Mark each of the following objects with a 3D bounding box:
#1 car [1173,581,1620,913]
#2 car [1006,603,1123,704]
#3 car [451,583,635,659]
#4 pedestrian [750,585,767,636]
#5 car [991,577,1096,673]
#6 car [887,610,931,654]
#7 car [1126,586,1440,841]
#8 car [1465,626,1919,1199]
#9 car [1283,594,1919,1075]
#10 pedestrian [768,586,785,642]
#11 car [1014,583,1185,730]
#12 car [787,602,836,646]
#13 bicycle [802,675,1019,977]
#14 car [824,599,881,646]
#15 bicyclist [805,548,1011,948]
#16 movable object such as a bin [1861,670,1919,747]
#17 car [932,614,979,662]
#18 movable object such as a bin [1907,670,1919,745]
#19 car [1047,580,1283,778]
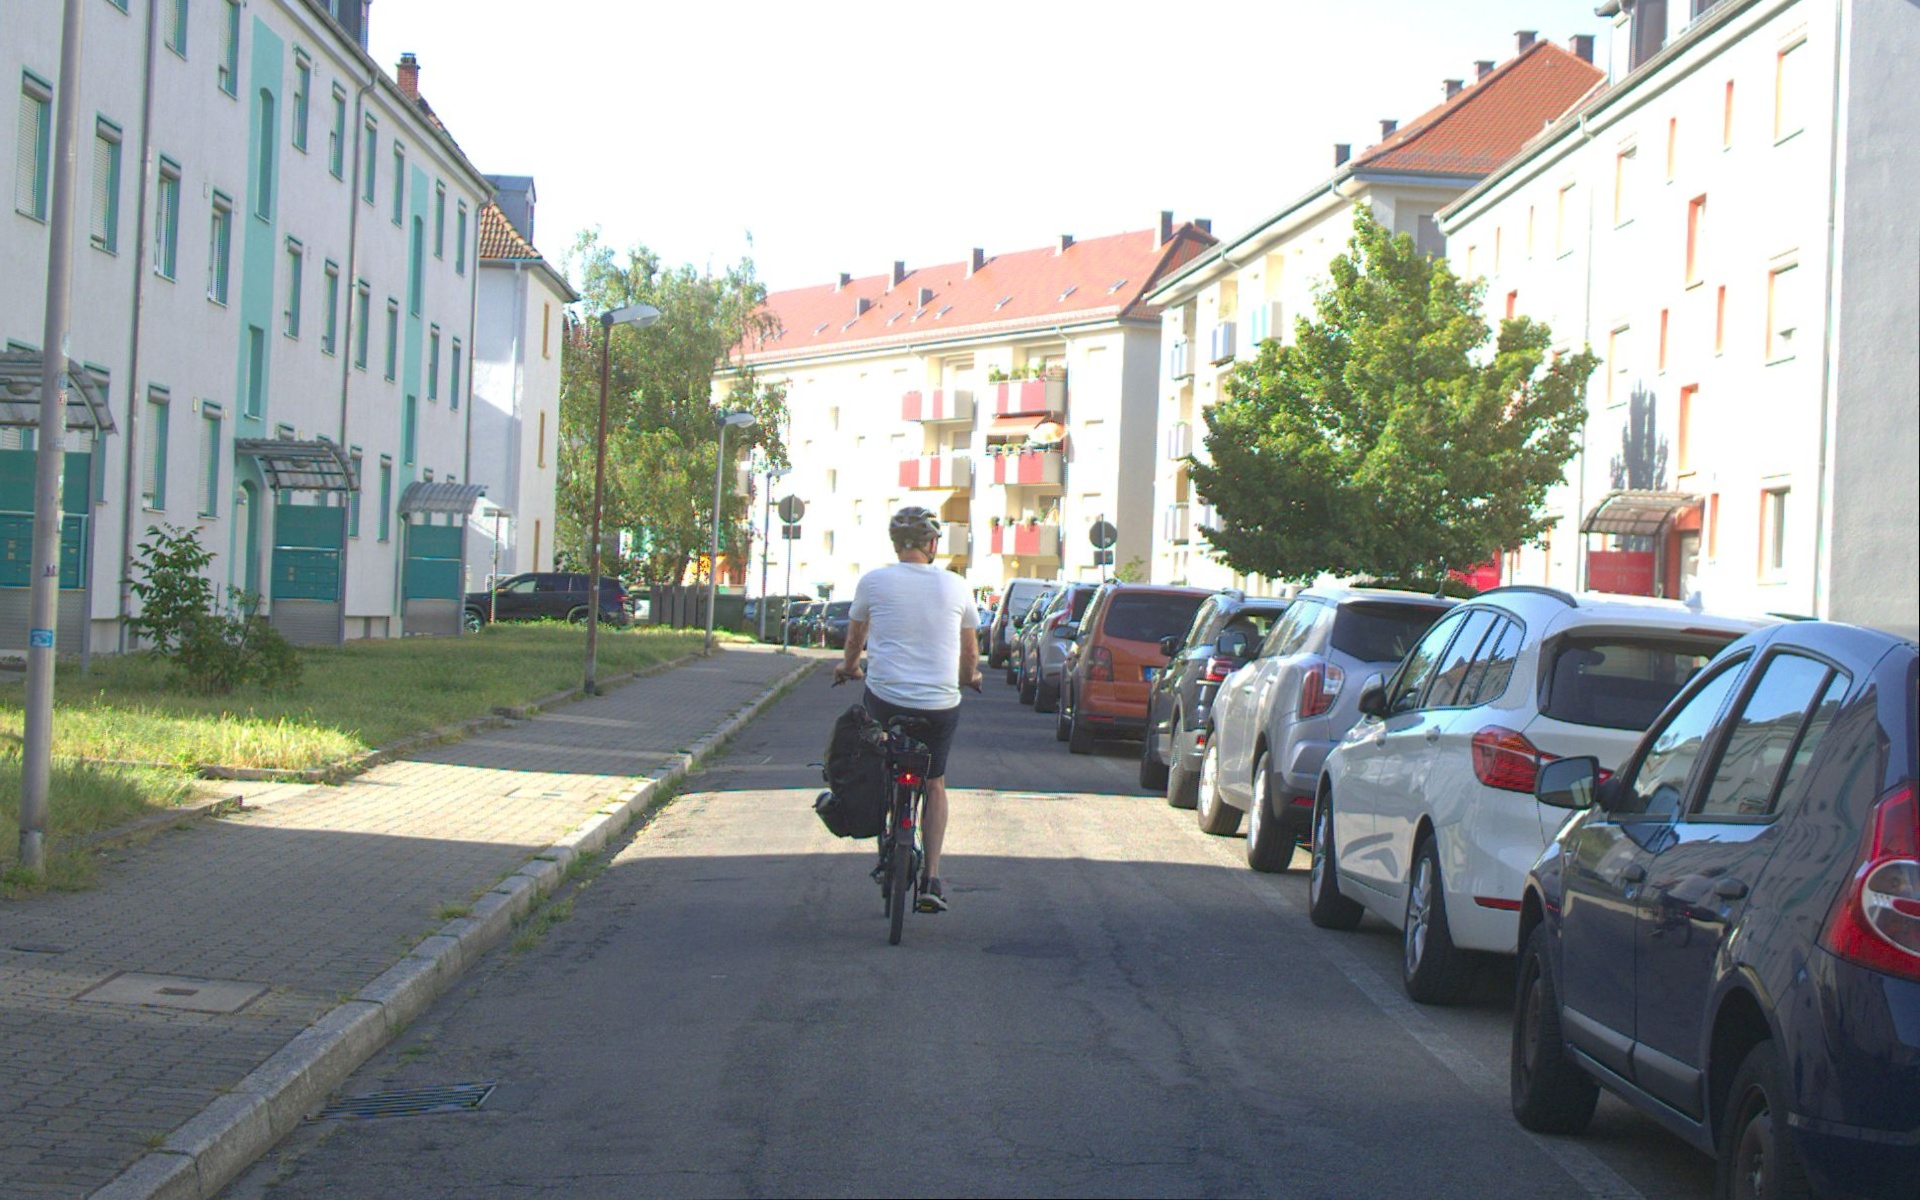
[{"bbox_3d":[2.444,0.768,20.361,1.750,1.612,4.452,5,0,-3],"label":"car"},{"bbox_3d":[1.579,0.798,53.067,1.559,1.406,3.933,3,0,-1],"label":"car"},{"bbox_3d":[-9.860,0.500,81.532,4.230,1.633,1.583,2,0,-4],"label":"car"},{"bbox_3d":[-5.644,0.286,96.352,0.434,1.422,0.543,2,0,-1],"label":"pedestrian"},{"bbox_3d":[1.600,0.460,67.299,1.674,1.733,3.943,3,0,-3],"label":"car"},{"bbox_3d":[-1.949,1.199,129.475,1.469,1.511,3.077,3,0,-3],"label":"car"},{"bbox_3d":[2.303,0.762,25.567,1.712,1.590,4.398,5,0,-1],"label":"car"},{"bbox_3d":[2.426,0.865,8.701,1.641,1.493,4.156,2,0,0],"label":"car"},{"bbox_3d":[2.507,0.819,14.250,1.690,1.569,4.435,4,0,-2],"label":"car"},{"bbox_3d":[-5.144,0.386,96.337,0.434,1.569,0.543,1,0,-1],"label":"pedestrian"},{"bbox_3d":[1.722,0.669,43.813,1.700,1.665,4.380,4,0,-3],"label":"car"},{"bbox_3d":[-4.818,0.767,111.354,1.469,1.331,3.141,-1,0,-4],"label":"car"},{"bbox_3d":[-0.243,0.919,14.636,0.808,1.124,2.102,1,0,-3],"label":"bicycle"},{"bbox_3d":[-3.147,0.649,100.330,1.469,1.331,3.141,-1,0,-5],"label":"car"},{"bbox_3d":[-0.236,0.611,14.662,0.808,1.638,0.899,1,0,-3],"label":"bicyclist"},{"bbox_3d":[11.207,1.300,41.380,0.523,0.883,0.633,2,0,0],"label":"movable object such as a bin"},{"bbox_3d":[-0.172,1.287,116.842,1.381,1.492,3.077,3,0,-3],"label":"car"},{"bbox_3d":[11.764,1.307,41.369,0.523,0.883,0.633,2,0,0],"label":"movable object such as a bin"},{"bbox_3d":[1.910,0.718,33.227,1.862,1.662,4.127,4,0,-1],"label":"car"}]
